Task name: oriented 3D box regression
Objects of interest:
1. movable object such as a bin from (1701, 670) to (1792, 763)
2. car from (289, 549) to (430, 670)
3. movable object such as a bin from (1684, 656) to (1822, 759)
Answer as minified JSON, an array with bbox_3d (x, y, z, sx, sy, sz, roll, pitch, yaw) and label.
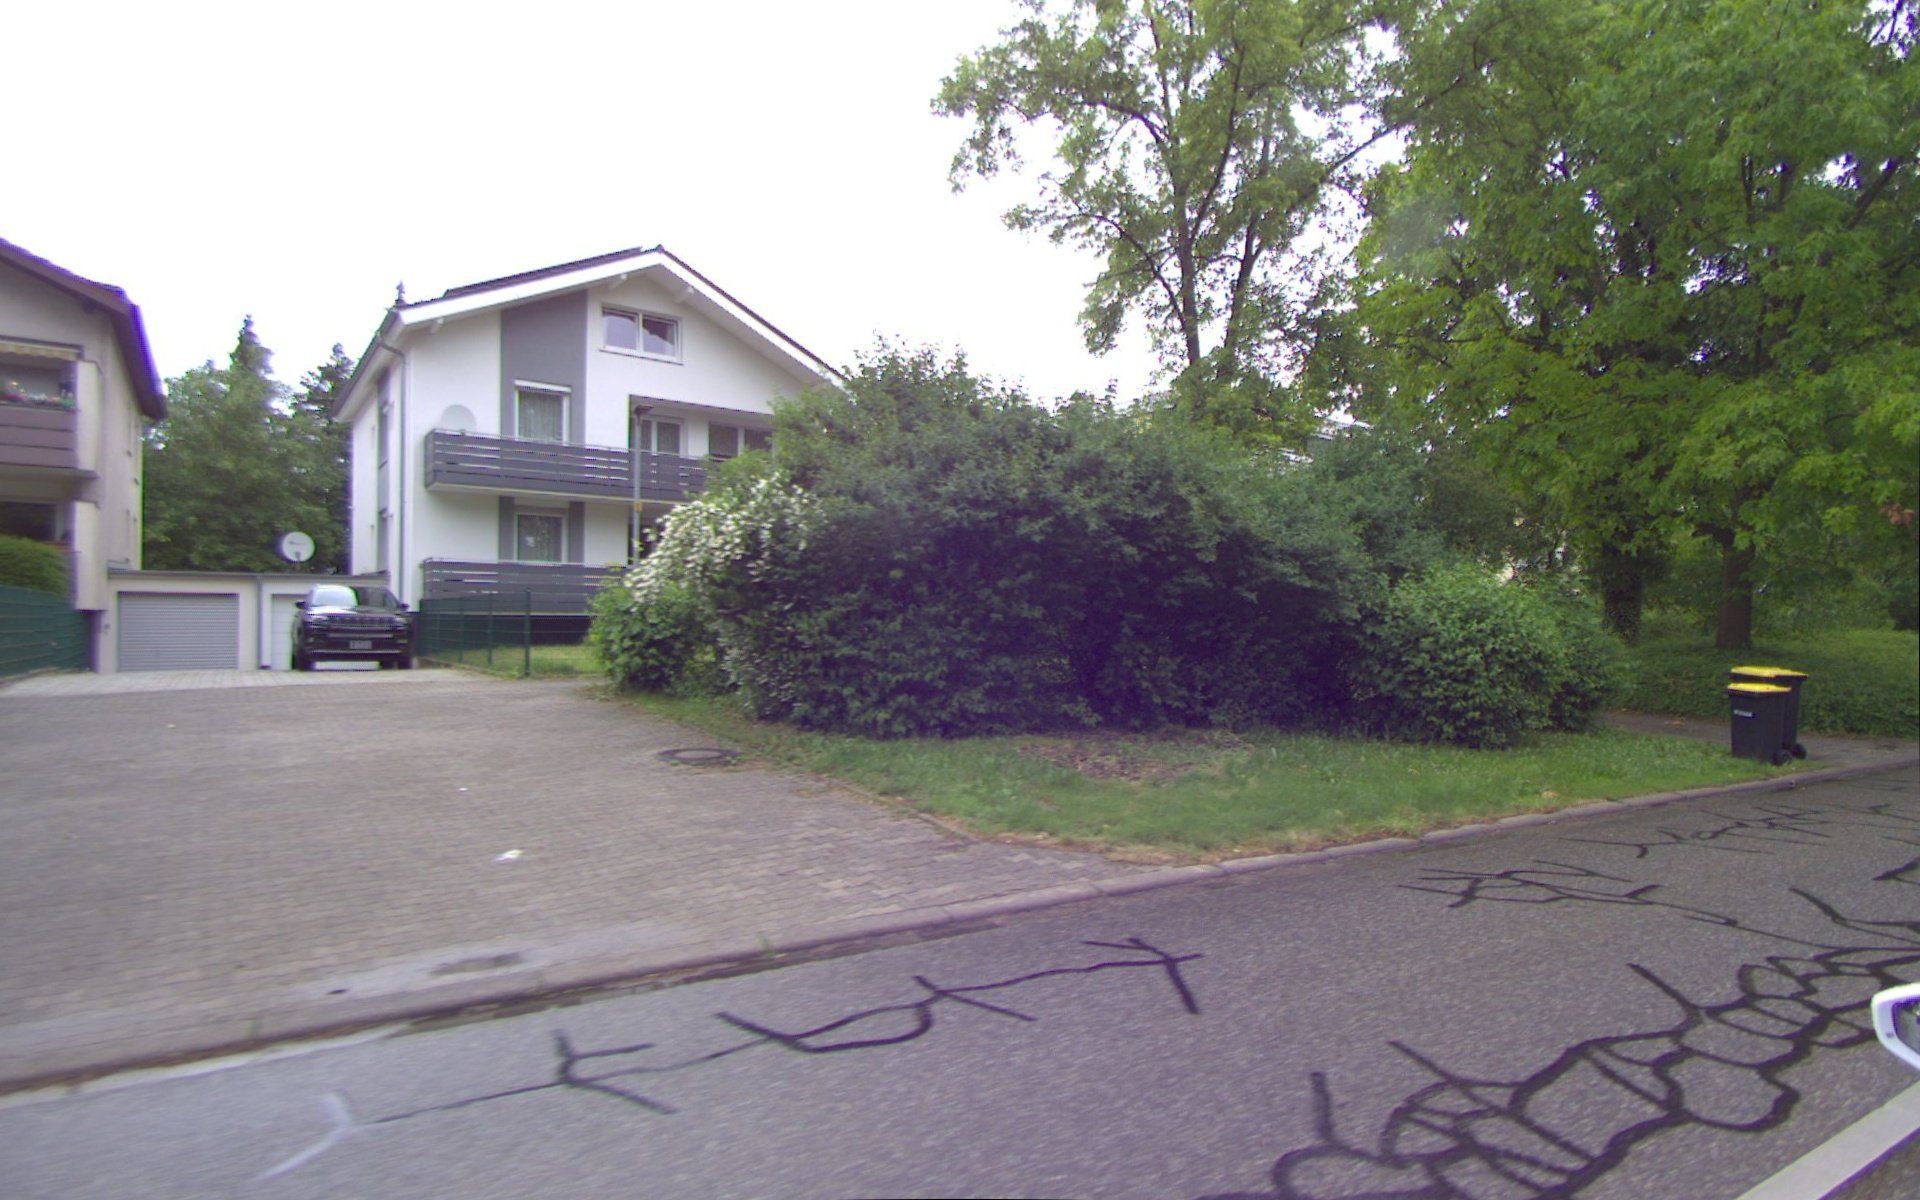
[{"bbox_3d":[9.264,1.355,11.841,0.571,0.992,0.645,1,1,-29],"label":"movable object such as a bin"},{"bbox_3d":[-11.446,0.219,19.036,1.980,2.040,3.961,1,-2,-35],"label":"car"},{"bbox_3d":[9.823,1.300,12.460,0.954,1.120,1.033,1,1,-29],"label":"movable object such as a bin"}]
